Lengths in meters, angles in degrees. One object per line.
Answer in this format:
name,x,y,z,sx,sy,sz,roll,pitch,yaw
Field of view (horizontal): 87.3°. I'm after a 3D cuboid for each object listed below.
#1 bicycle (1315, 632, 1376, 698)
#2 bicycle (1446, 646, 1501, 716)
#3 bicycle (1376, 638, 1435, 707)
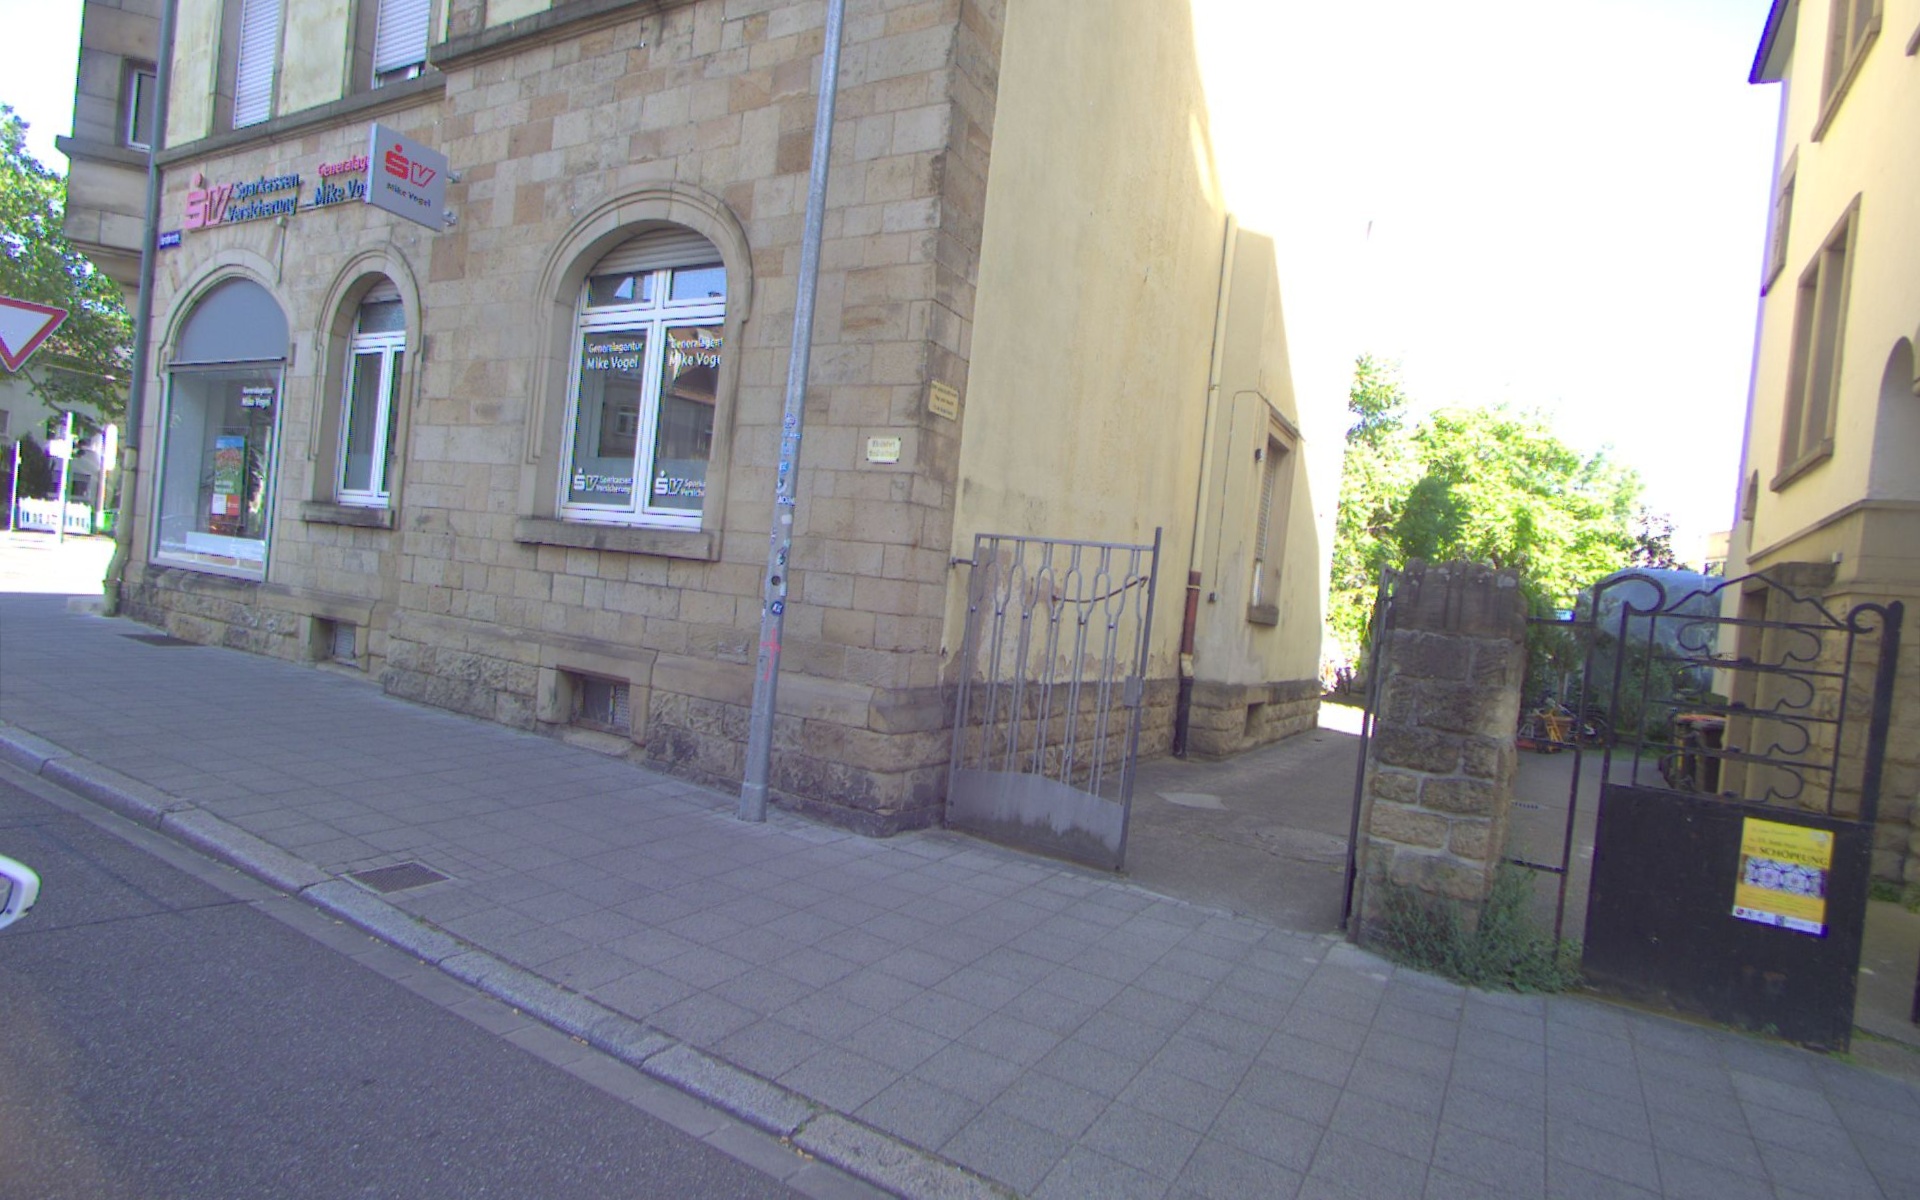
bicycle,9.980,1.643,25.972,0.904,1.532,2.667,6,2,31
bicycle,12.598,1.938,24.641,0.904,1.532,2.667,6,2,31
bicycle,11.213,1.778,25.255,0.904,1.532,2.667,6,2,31
